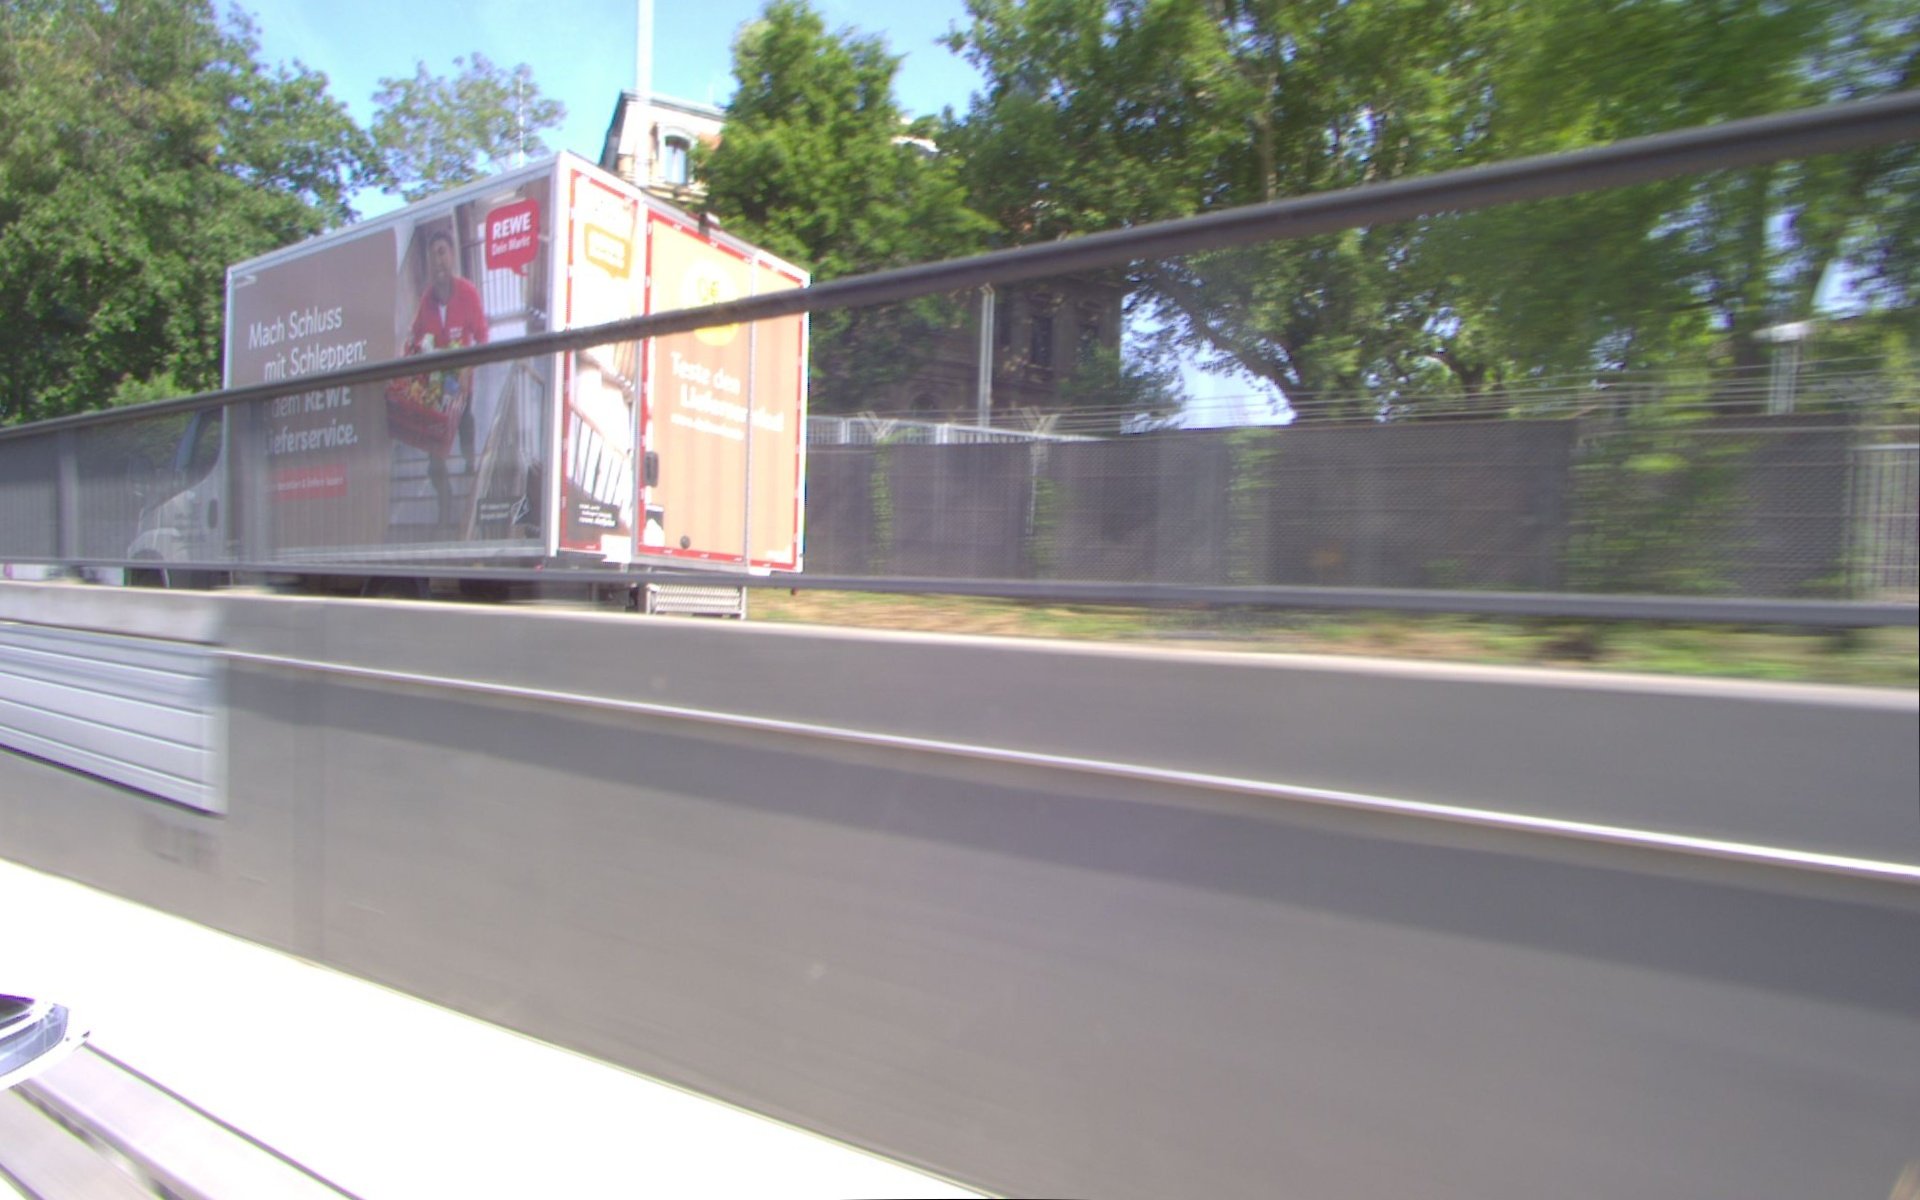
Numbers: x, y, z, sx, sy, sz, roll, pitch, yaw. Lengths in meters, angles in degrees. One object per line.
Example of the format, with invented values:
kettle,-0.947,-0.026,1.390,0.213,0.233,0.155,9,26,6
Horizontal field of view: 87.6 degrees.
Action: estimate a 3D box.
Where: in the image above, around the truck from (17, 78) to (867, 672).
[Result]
truck,-4.715,-1.415,8.319,7.702,3.101,2.499,5,1,31
